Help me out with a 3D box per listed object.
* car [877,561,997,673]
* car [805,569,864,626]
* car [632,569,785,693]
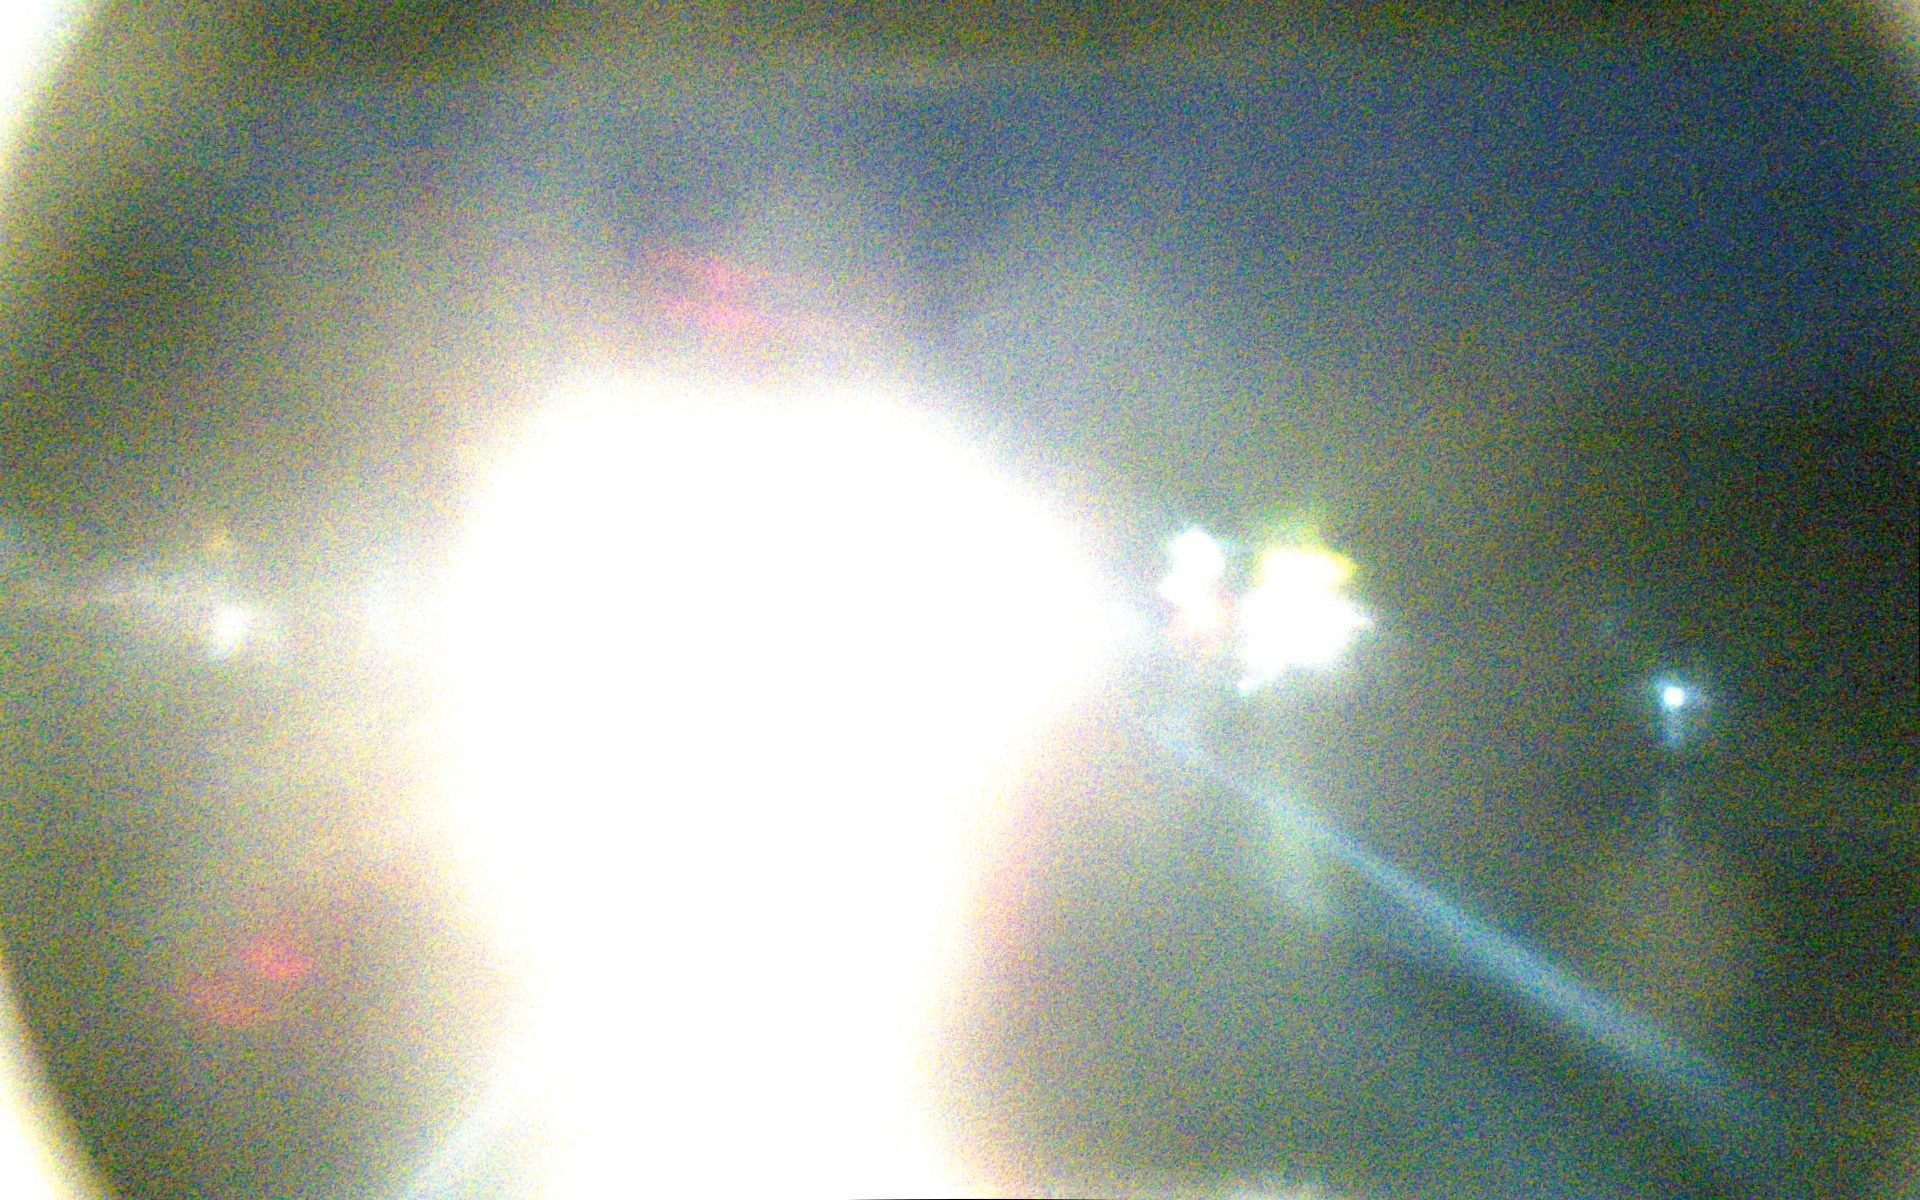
[{"bbox_3d":[-0.390,0.245,26.850,1.772,1.650,3.999,1,0,-1],"label":"car"},{"bbox_3d":[-4.046,-0.091,52.915,1.756,1.721,3.995,2,0,-6],"label":"car"},{"bbox_3d":[-3.690,0.429,24.862,1.862,1.673,3.789,2,0,-3],"label":"car"}]
